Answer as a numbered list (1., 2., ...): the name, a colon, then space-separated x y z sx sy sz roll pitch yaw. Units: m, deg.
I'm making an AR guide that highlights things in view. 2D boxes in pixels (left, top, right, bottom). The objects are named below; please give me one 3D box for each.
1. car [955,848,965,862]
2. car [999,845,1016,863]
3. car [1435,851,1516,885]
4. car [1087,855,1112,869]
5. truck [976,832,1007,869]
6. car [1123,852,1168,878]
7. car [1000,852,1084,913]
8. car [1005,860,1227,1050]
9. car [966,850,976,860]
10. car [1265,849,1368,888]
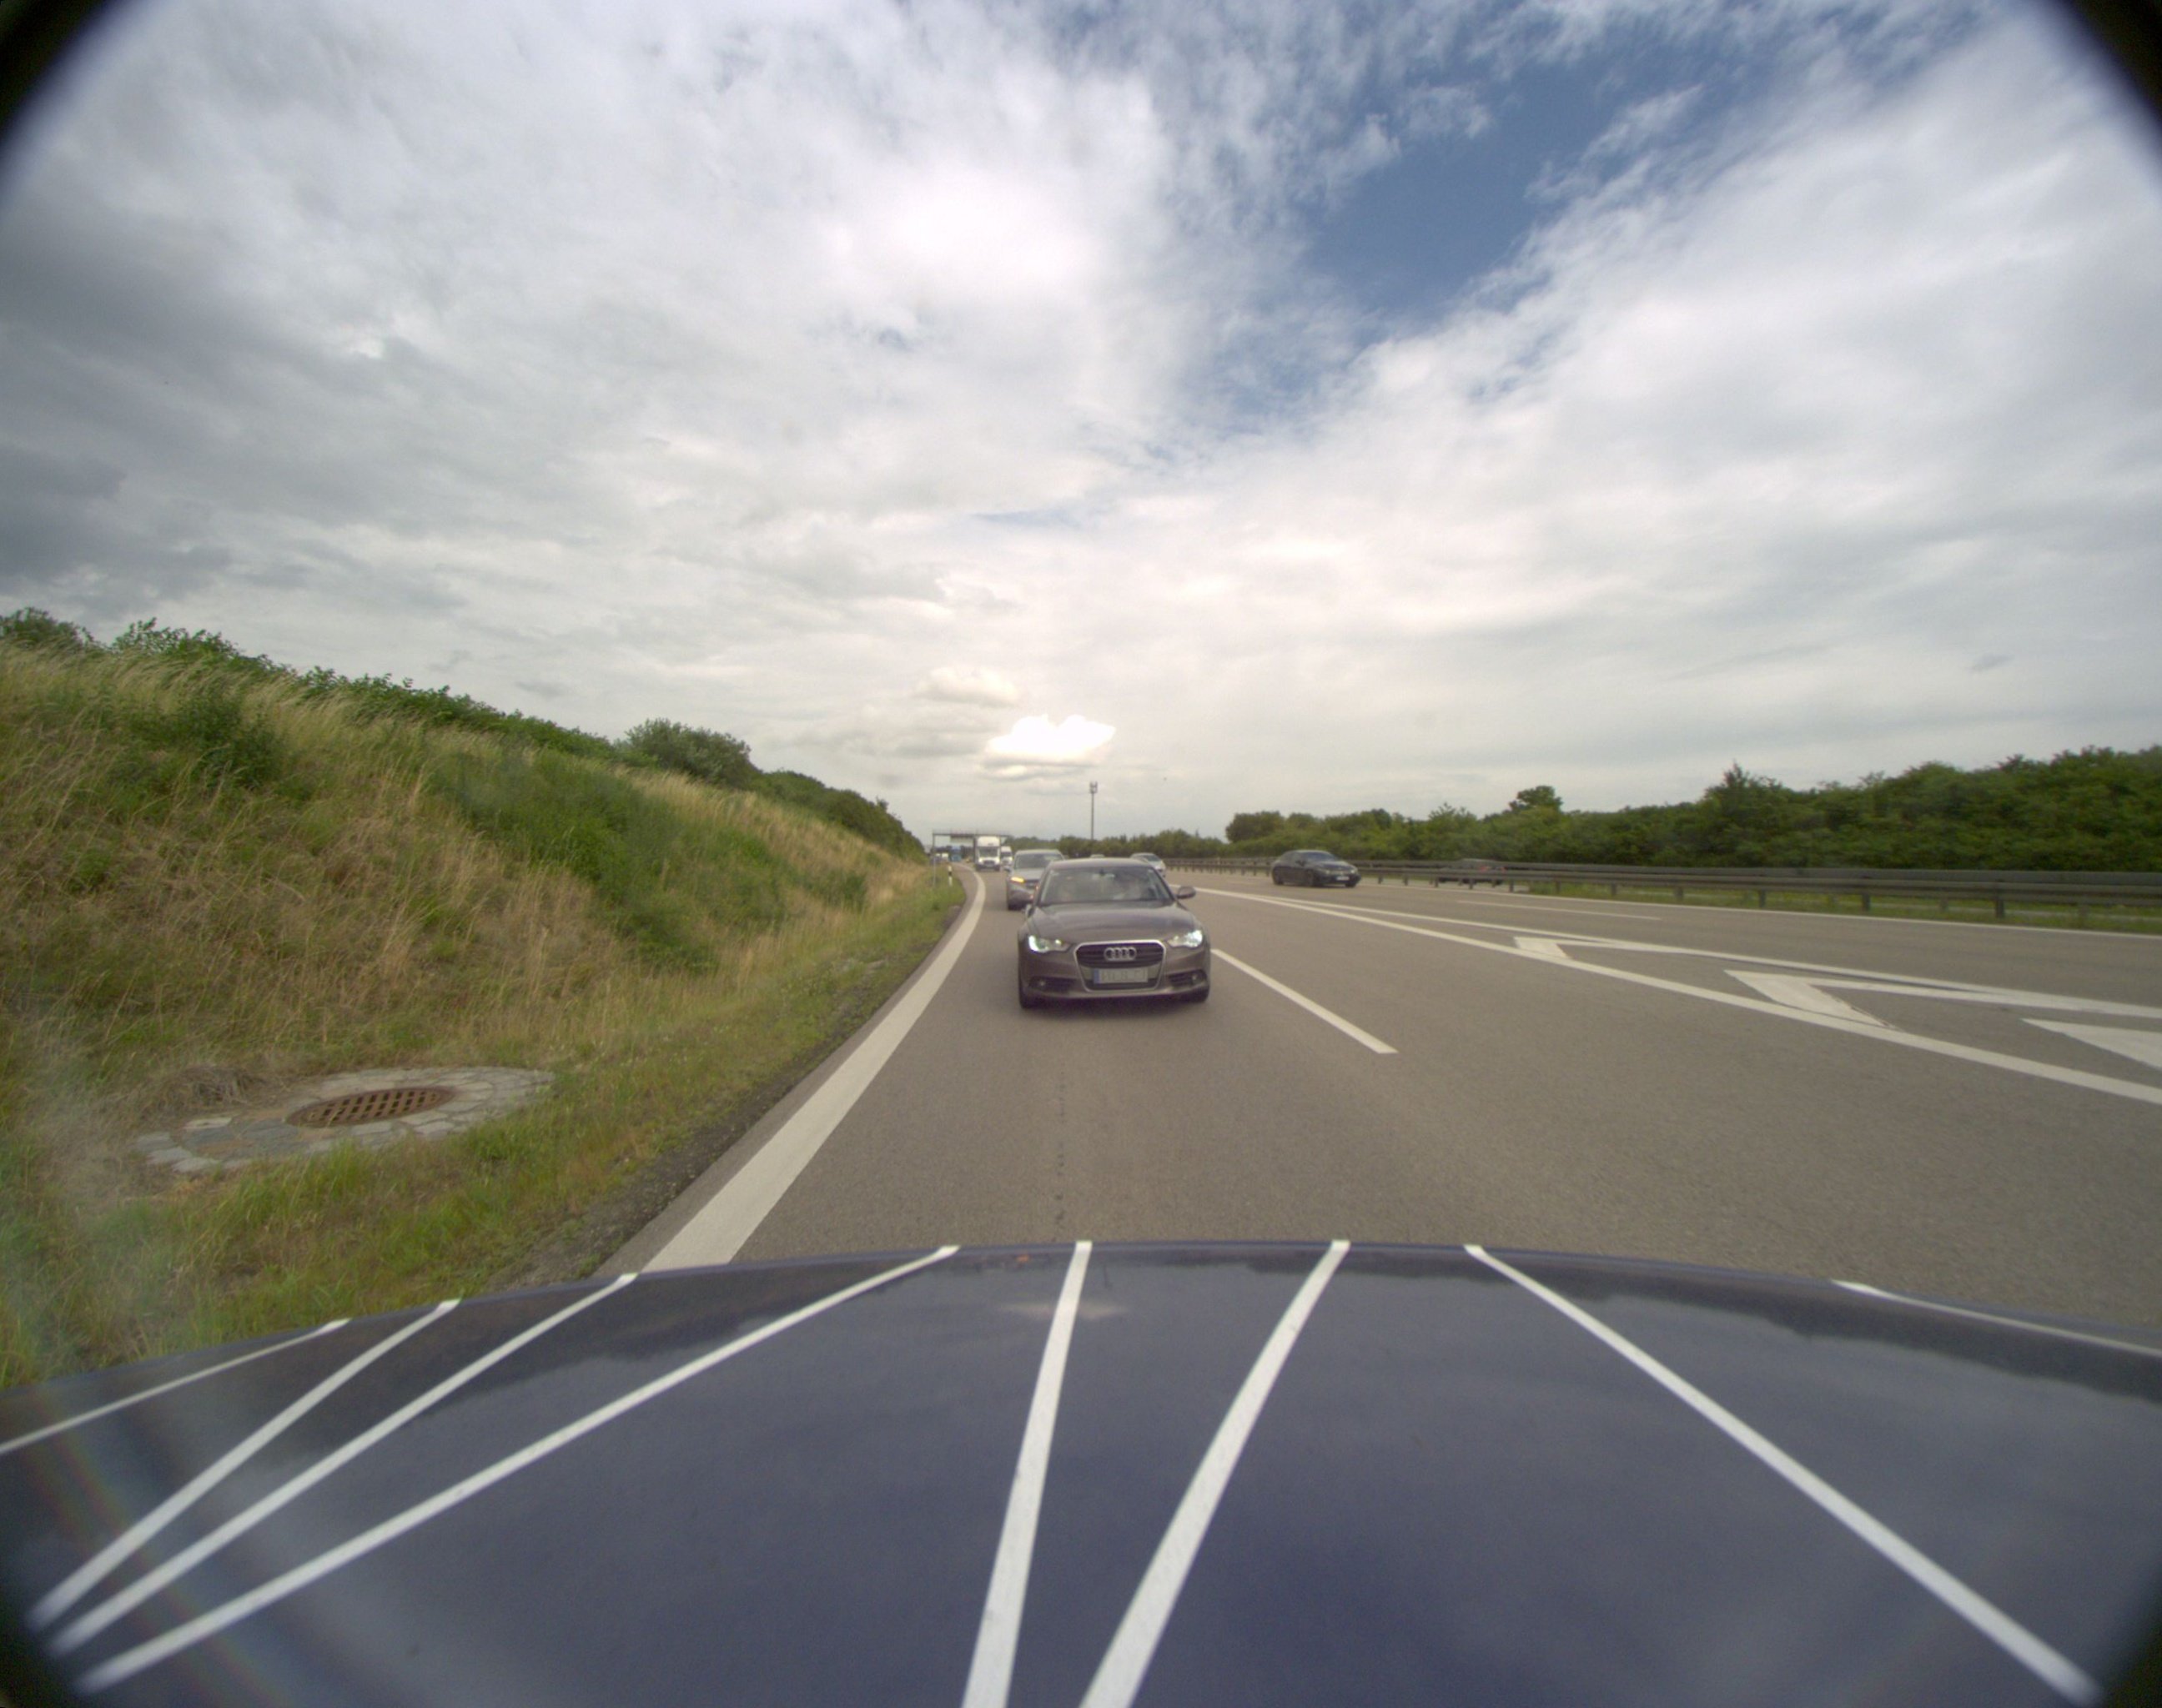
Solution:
1. car: -32.669 0.138 204.599 2.506 3.689 7.694 -1 0 -10
2. car: -9.908 -0.013 102.204 2.000 2.381 3.997 -2 1 -7
3. car: 21.749 0.725 42.037 2.000 1.792 3.996 0 0 -9
4. car: 1.946 0.812 81.864 1.842 1.444 4.374 -1 0 -10
5. truck: -8.371 -0.329 70.575 2.450 3.217 7.185 -1 0 -9
6. car: 3.836 0.631 45.822 1.723 1.510 3.996 0 0 -10
7. car: -1.216 0.739 21.792 2.000 1.567 3.997 -1 0 -9
8. car: 0.237 0.864 8.432 1.849 1.489 4.028 -1 1 -2
9. car: -24.039 0.211 165.327 2.000 2.002 3.996 -1 0 -10
10. car: 9.609 0.539 31.478 2.001 1.501 4.773 0 0 -12
